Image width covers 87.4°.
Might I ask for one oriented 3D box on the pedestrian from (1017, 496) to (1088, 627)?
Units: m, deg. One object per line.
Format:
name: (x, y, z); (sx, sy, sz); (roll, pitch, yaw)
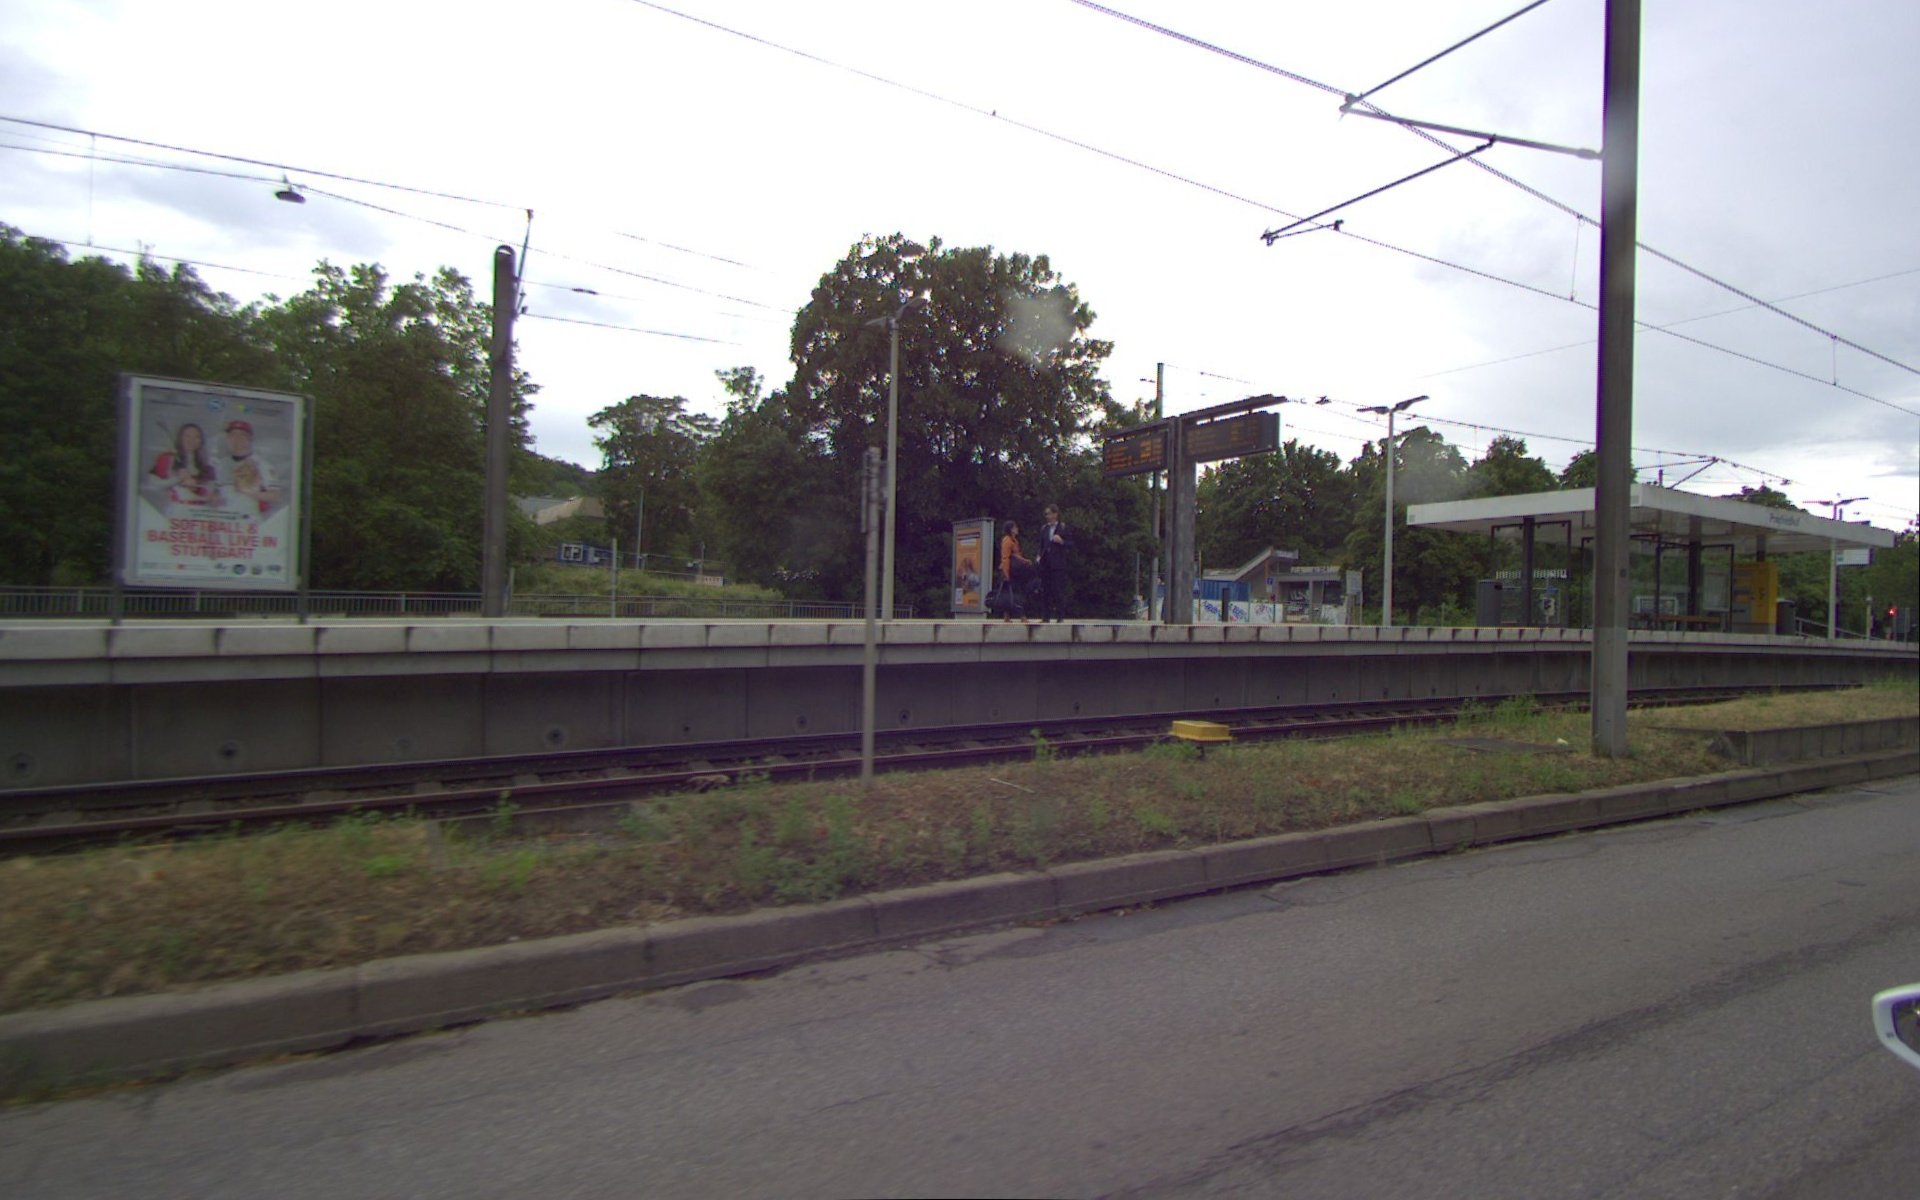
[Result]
pedestrian: (1.418, -0.588, 15.365); (0.734, 1.935, 0.838); (2, 3, 38)

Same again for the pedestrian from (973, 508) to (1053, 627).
pedestrian: (0.785, -0.482, 14.755); (0.785, 1.669, 0.915); (2, 3, 38)
